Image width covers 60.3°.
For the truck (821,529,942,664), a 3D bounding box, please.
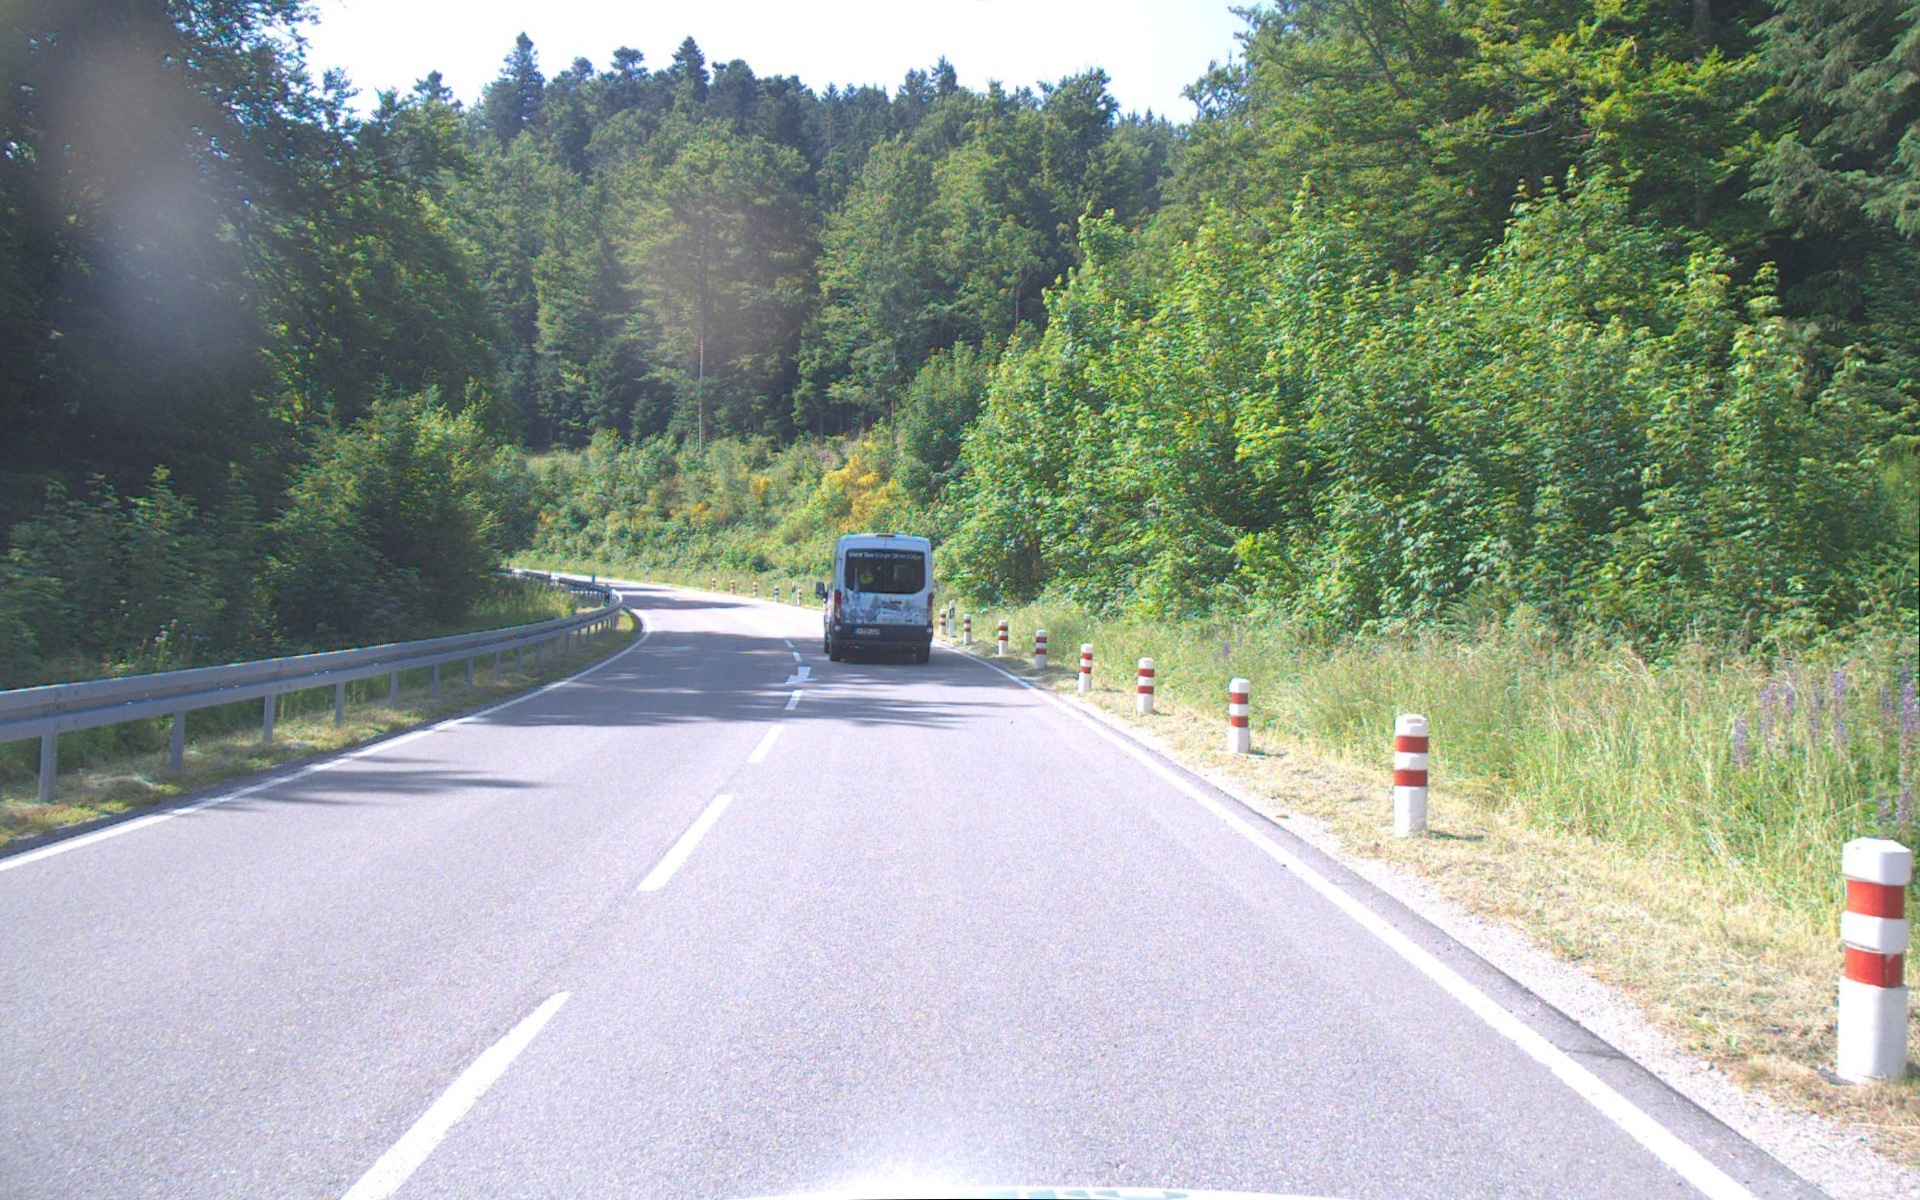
[{"bbox_3d":[-1.721,-0.101,34.108,2.075,2.542,5.351,1,1,-7],"label":"truck"}]
